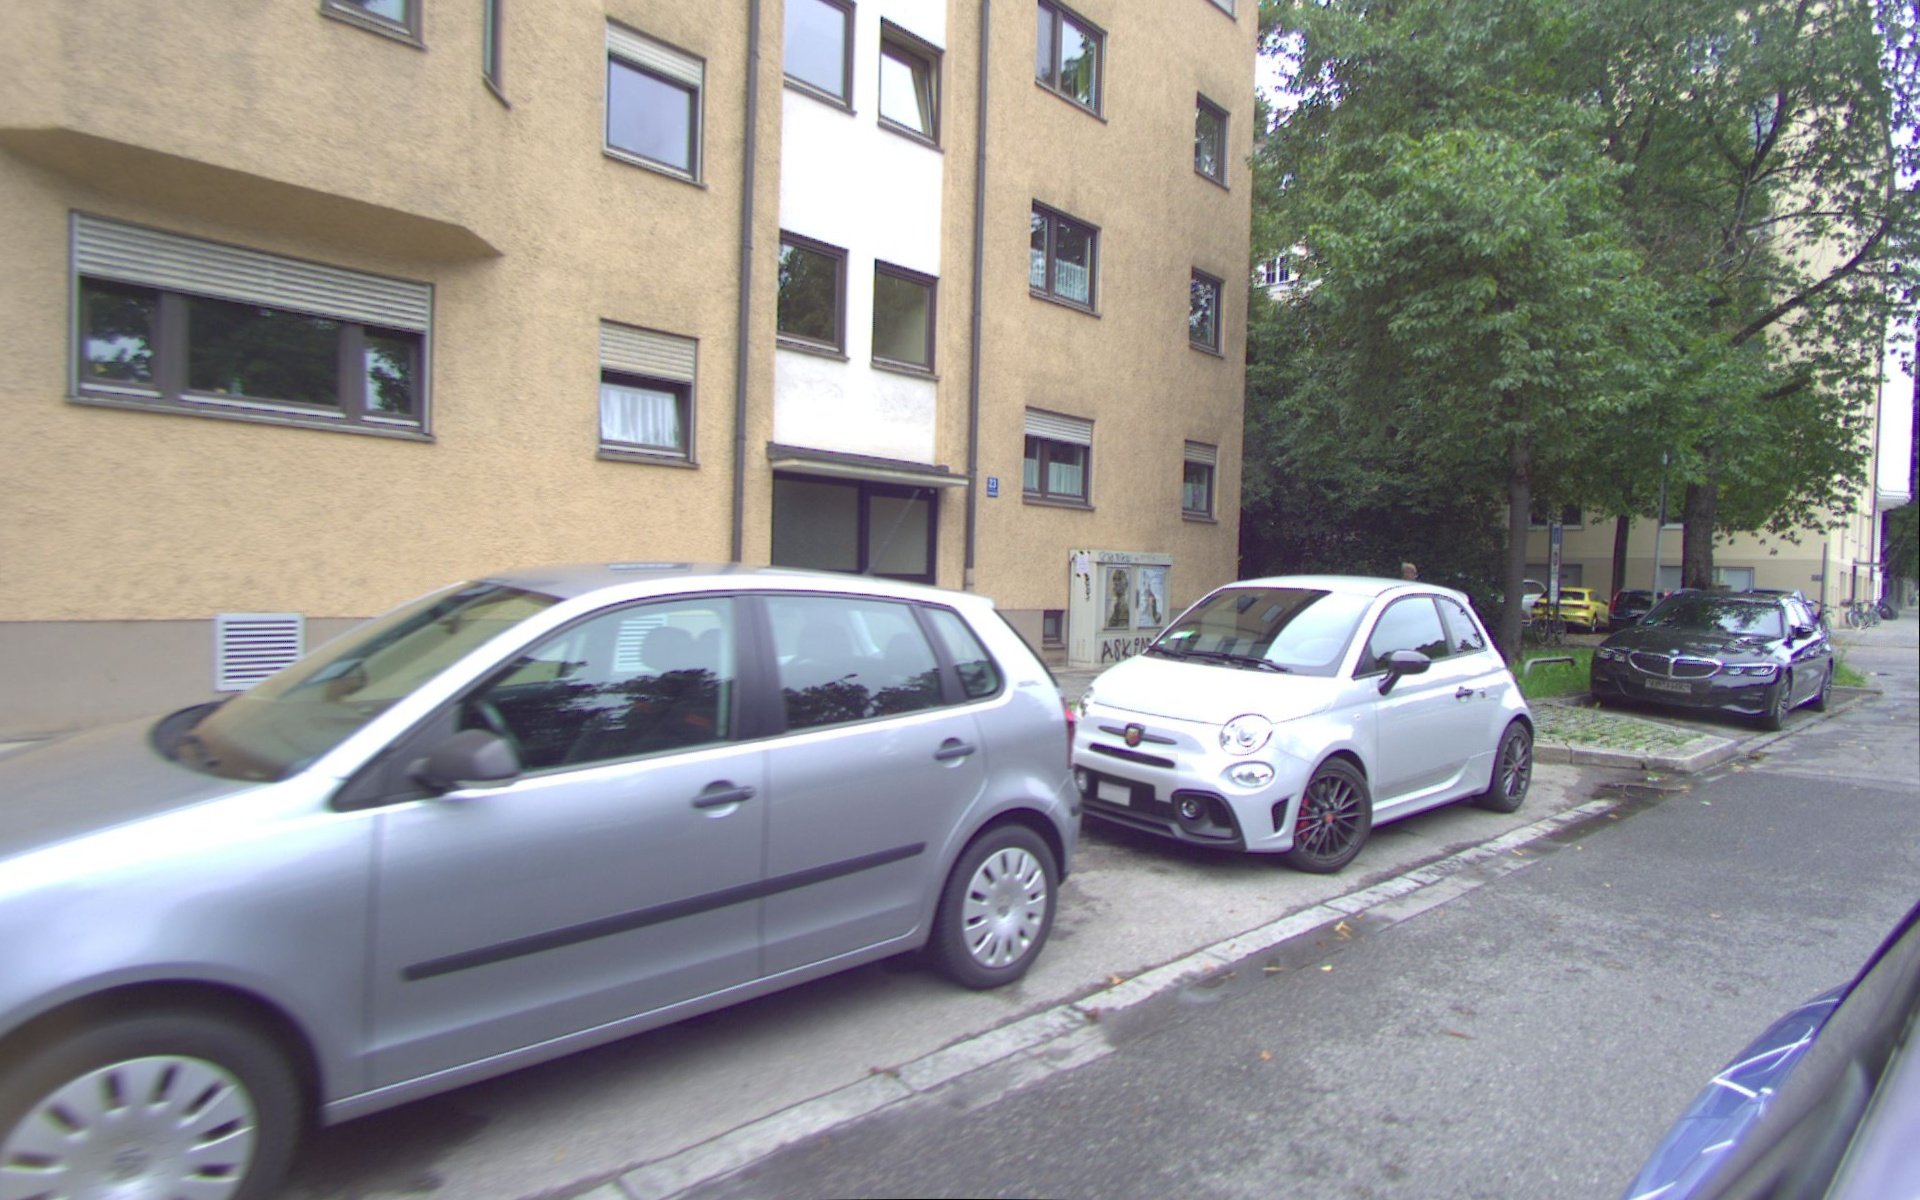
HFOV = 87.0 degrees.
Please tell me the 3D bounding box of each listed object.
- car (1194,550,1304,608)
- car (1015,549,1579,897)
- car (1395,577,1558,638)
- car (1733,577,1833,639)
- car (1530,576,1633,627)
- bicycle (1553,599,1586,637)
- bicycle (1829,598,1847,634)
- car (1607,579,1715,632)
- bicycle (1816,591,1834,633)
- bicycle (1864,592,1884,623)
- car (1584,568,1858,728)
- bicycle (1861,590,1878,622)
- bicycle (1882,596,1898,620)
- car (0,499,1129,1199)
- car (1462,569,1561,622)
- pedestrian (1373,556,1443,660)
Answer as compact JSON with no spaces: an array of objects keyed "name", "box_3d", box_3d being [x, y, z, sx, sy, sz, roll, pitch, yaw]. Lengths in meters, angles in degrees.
[{"name":"car","box_3d":[12.160,-0.904,42.598,4.093,2.342,1.908,0,2,-20]},{"name":"car","box_3d":[2.273,0.510,6.341,3.754,1.514,1.631,0,3,-41]},{"name":"car","box_3d":[14.488,0.163,28.503,1.703,1.515,3.705,0,2,-40]},{"name":"car","box_3d":[23.589,0.183,28.955,1.821,1.584,4.177,3,2,44]},{"name":"car","box_3d":[20.081,0.008,32.637,1.913,1.485,4.177,3,2,44]},{"name":"bicycle","box_3d":[14.891,0.429,24.703,1.059,0.891,0.250,0,2,-35]},{"name":"bicycle","box_3d":[26.611,0.481,30.666,1.218,1.074,0.281,0,2,-45]},{"name":"car","box_3d":[21.648,0.130,31.196,2.049,1.485,4.177,3,2,44]},{"name":"bicycle","box_3d":[26.416,0.355,30.897,1.218,1.246,0.281,0,2,-45]},{"name":"bicycle","box_3d":[35.177,0.278,38.966,0.398,1.185,1.302,2,2,36]},{"name":"car","box_3d":[9.409,0.463,12.382,4.301,1.514,1.796,0,5,-42]},{"name":"bicycle","box_3d":[33.753,0.217,37.581,0.362,1.185,1.300,2,2,39]},{"name":"bicycle","box_3d":[40.357,0.347,43.907,0.461,1.017,1.299,2,2,42]},{"name":"car","box_3d":[-1.315,0.524,3.235,3.721,1.514,1.631,0,3,-41]},{"name":"car","box_3d":[18.993,-0.181,34.767,1.913,1.640,4.177,3,2,44]},{"name":"pedestrian","box_3d":[7.307,0.109,16.500,0.963,1.643,0.672,-1,2,-40]}]
